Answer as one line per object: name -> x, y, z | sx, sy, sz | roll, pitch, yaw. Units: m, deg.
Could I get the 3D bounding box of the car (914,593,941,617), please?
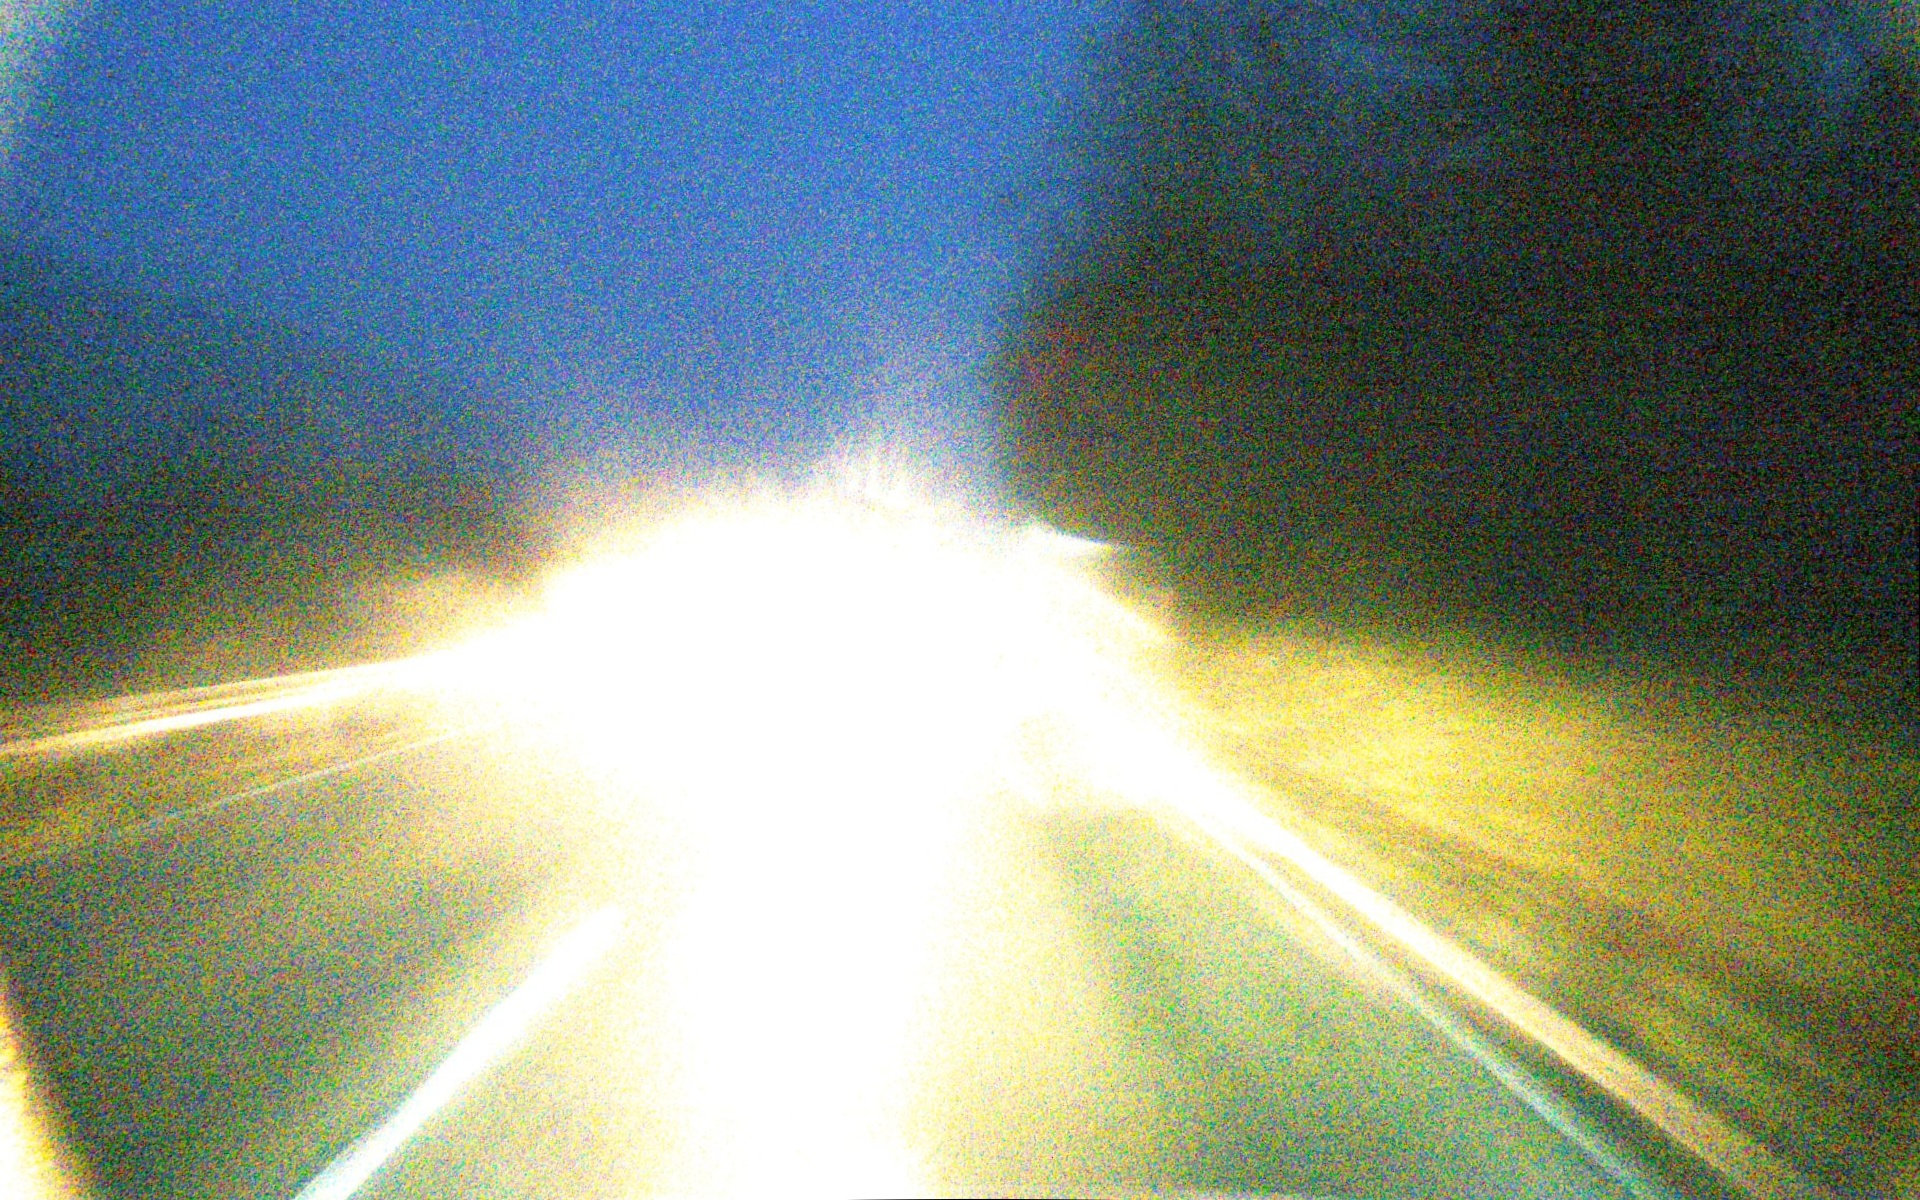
car -> -2.464, 0.367, 124.240 | 1.953, 1.695, 3.999 | 1, 0, -1

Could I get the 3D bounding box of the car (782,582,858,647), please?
car -> -4.137, 0.412, 49.554 | 1.953, 1.856, 4.562 | 1, 0, -1
